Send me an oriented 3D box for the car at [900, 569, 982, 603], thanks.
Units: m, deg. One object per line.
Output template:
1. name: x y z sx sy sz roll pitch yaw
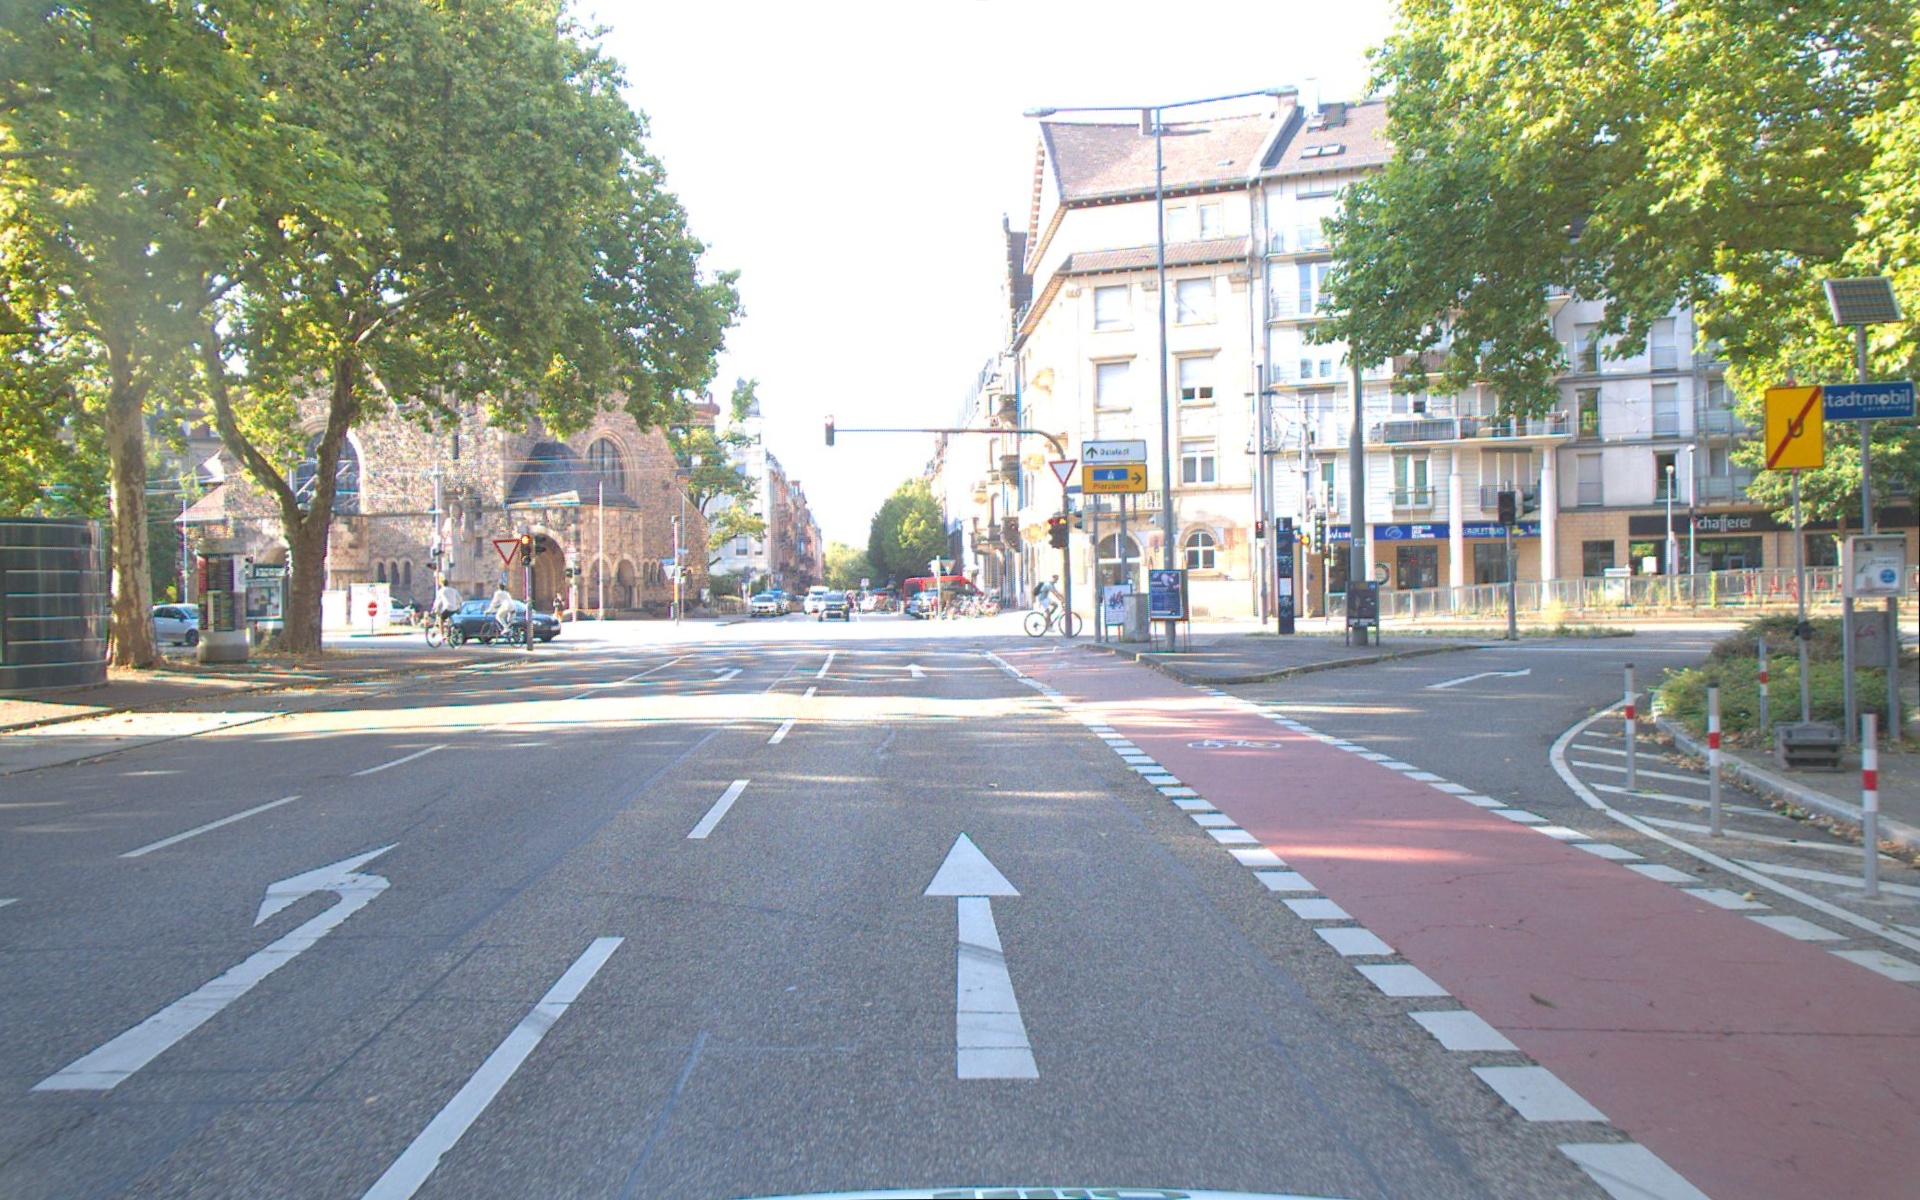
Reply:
1. car: -1.194 -0.888 105.506 4.953 2.049 2.137 1 -1 -39

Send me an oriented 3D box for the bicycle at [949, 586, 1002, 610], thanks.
1. bicycle: 0.800 -0.086 86.638 2.749 1.224 0.516 1 -1 -6

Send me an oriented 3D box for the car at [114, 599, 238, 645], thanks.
1. car: -28.454 0.801 60.050 3.904 1.583 1.853 1 -1 19

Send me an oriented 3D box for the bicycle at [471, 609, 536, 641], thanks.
1. bicycle: -13.172 0.722 47.701 1.747 0.911 0.749 -1 1 28

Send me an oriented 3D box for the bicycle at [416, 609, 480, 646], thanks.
1. bicycle: -14.315 0.759 46.231 1.750 0.999 0.655 0 -1 30

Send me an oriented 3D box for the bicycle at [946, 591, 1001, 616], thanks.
1. bicycle: 0.694 0.195 85.084 2.749 1.224 0.509 1 -1 -6

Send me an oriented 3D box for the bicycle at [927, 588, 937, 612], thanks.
1. bicycle: -1.508 0.002 88.496 0.498 1.224 2.091 1 -1 -1

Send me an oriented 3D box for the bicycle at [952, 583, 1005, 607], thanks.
1. bicycle: 0.993 -0.246 87.185 2.749 1.224 0.509 1 -1 -6

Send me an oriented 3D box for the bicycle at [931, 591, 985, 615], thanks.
1. bicycle: -0.096 0.148 85.875 2.749 1.224 0.516 1 -1 -6

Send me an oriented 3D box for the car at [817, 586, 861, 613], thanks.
1. car: -6.851 -0.005 94.197 1.553 1.488 3.186 1 -1 14

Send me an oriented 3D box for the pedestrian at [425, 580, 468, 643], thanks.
1. pedestrian: -14.363 0.308 46.265 0.972 1.738 0.627 0 -1 29

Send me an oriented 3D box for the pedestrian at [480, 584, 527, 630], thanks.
1. pedestrian: -13.167 0.205 47.704 1.028 1.300 0.791 0 -1 27

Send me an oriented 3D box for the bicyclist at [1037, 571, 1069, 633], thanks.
1. bicyclist: 2.597 0.052 45.916 0.785 1.685 0.935 1 -1 9

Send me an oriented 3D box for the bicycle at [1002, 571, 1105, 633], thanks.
1. bicycle: 2.601 0.061 45.909 2.781 1.685 0.831 1 -1 9

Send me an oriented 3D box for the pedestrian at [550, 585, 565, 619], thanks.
1. pedestrian: -21.269 0.110 87.366 0.597 1.822 0.710 1 -1 -2

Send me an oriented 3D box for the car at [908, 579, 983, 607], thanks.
1. car: -0.884 -0.416 101.733 4.380 1.565 1.852 1 -1 -36

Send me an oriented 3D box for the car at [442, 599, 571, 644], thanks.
1. car: -15.094 0.710 55.103 3.844 1.421 1.653 1 -1 18

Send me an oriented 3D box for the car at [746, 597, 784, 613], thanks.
1. car: -14.153 0.367 120.175 1.560 1.164 3.386 1 -1 15

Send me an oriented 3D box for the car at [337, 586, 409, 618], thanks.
1. car: -34.796 0.136 98.126 1.823 1.870 3.999 1 -1 22
